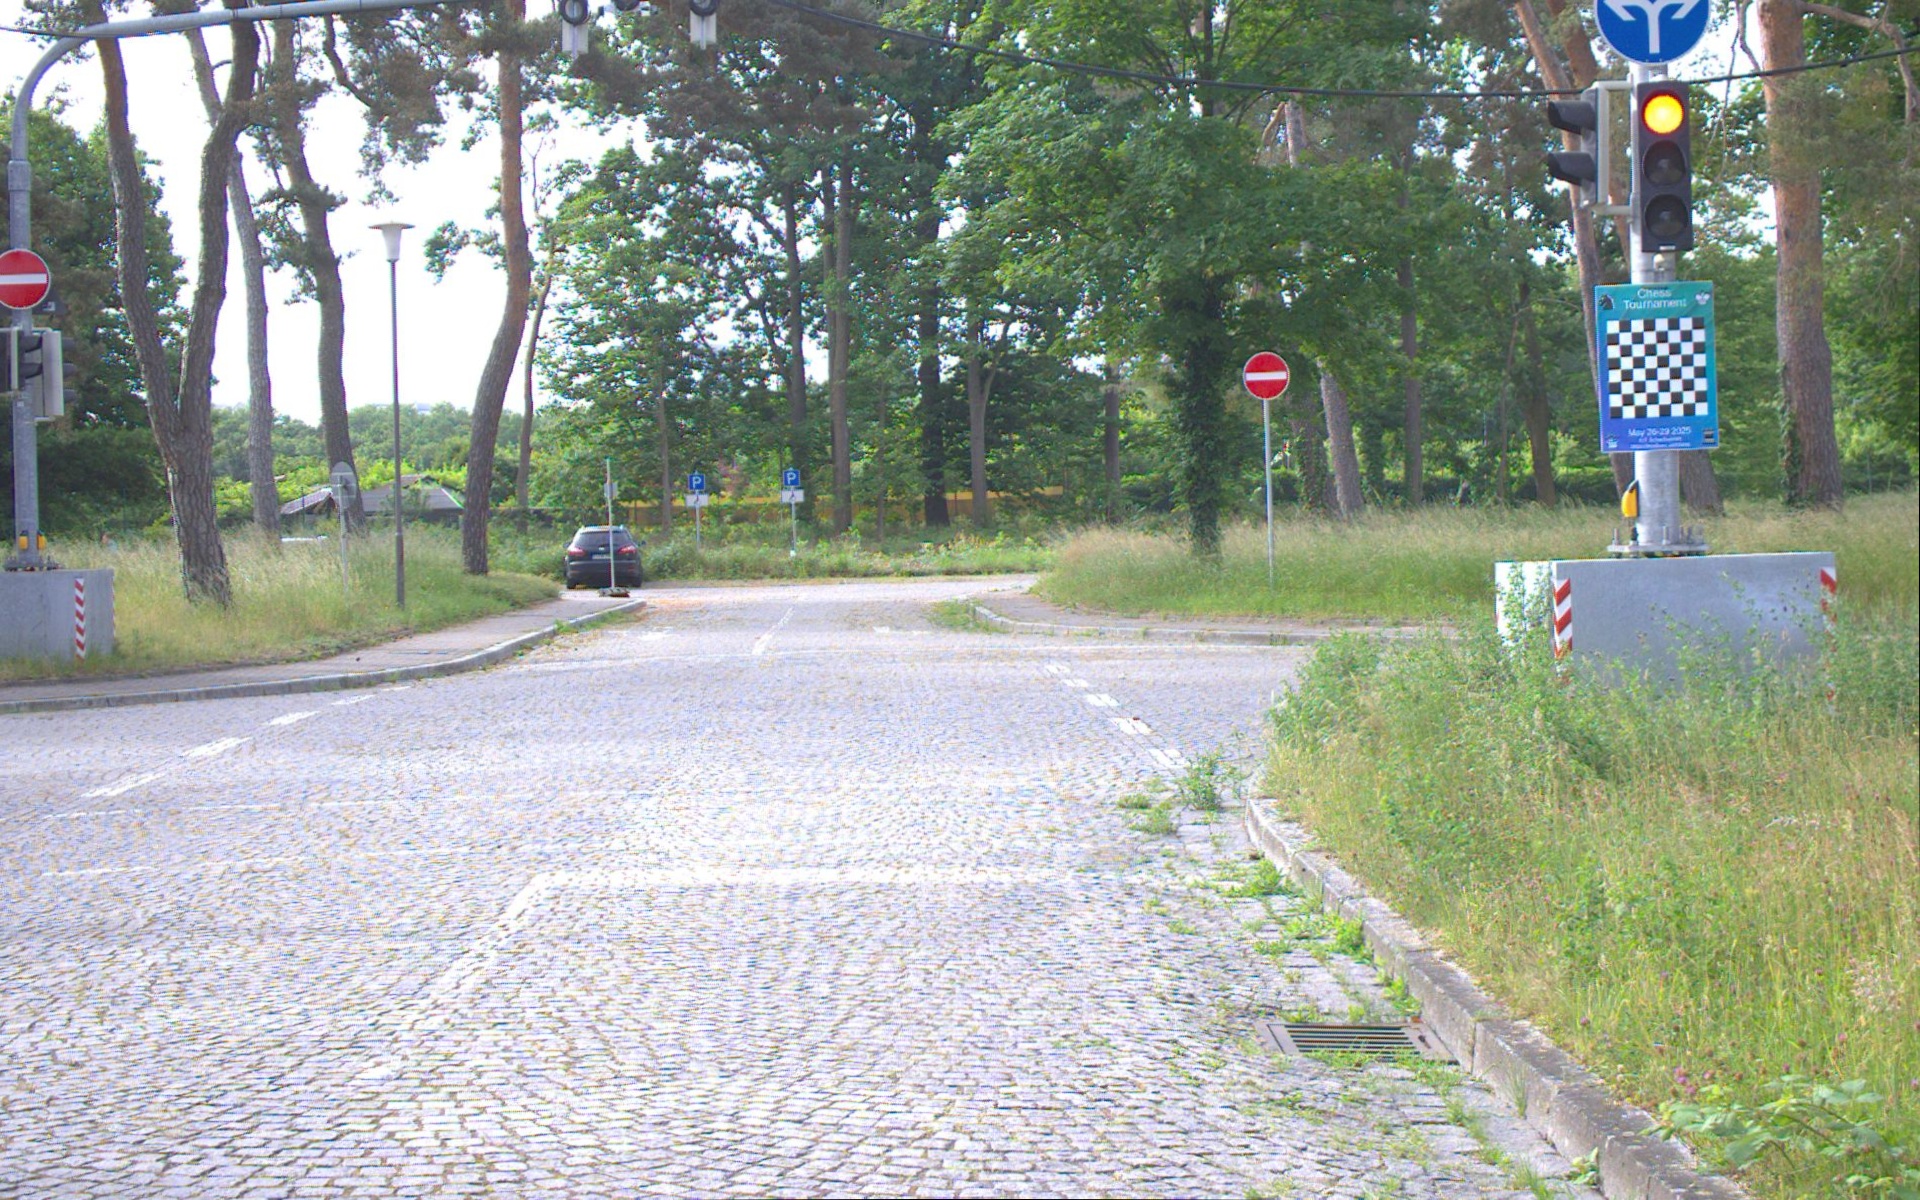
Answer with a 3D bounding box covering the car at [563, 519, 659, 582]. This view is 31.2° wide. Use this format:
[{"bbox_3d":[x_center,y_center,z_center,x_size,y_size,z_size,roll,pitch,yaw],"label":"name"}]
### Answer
[{"bbox_3d":[-8.611,-1.239,85.096,1.993,1.503,4.000,0,2,-1],"label":"car"}]
